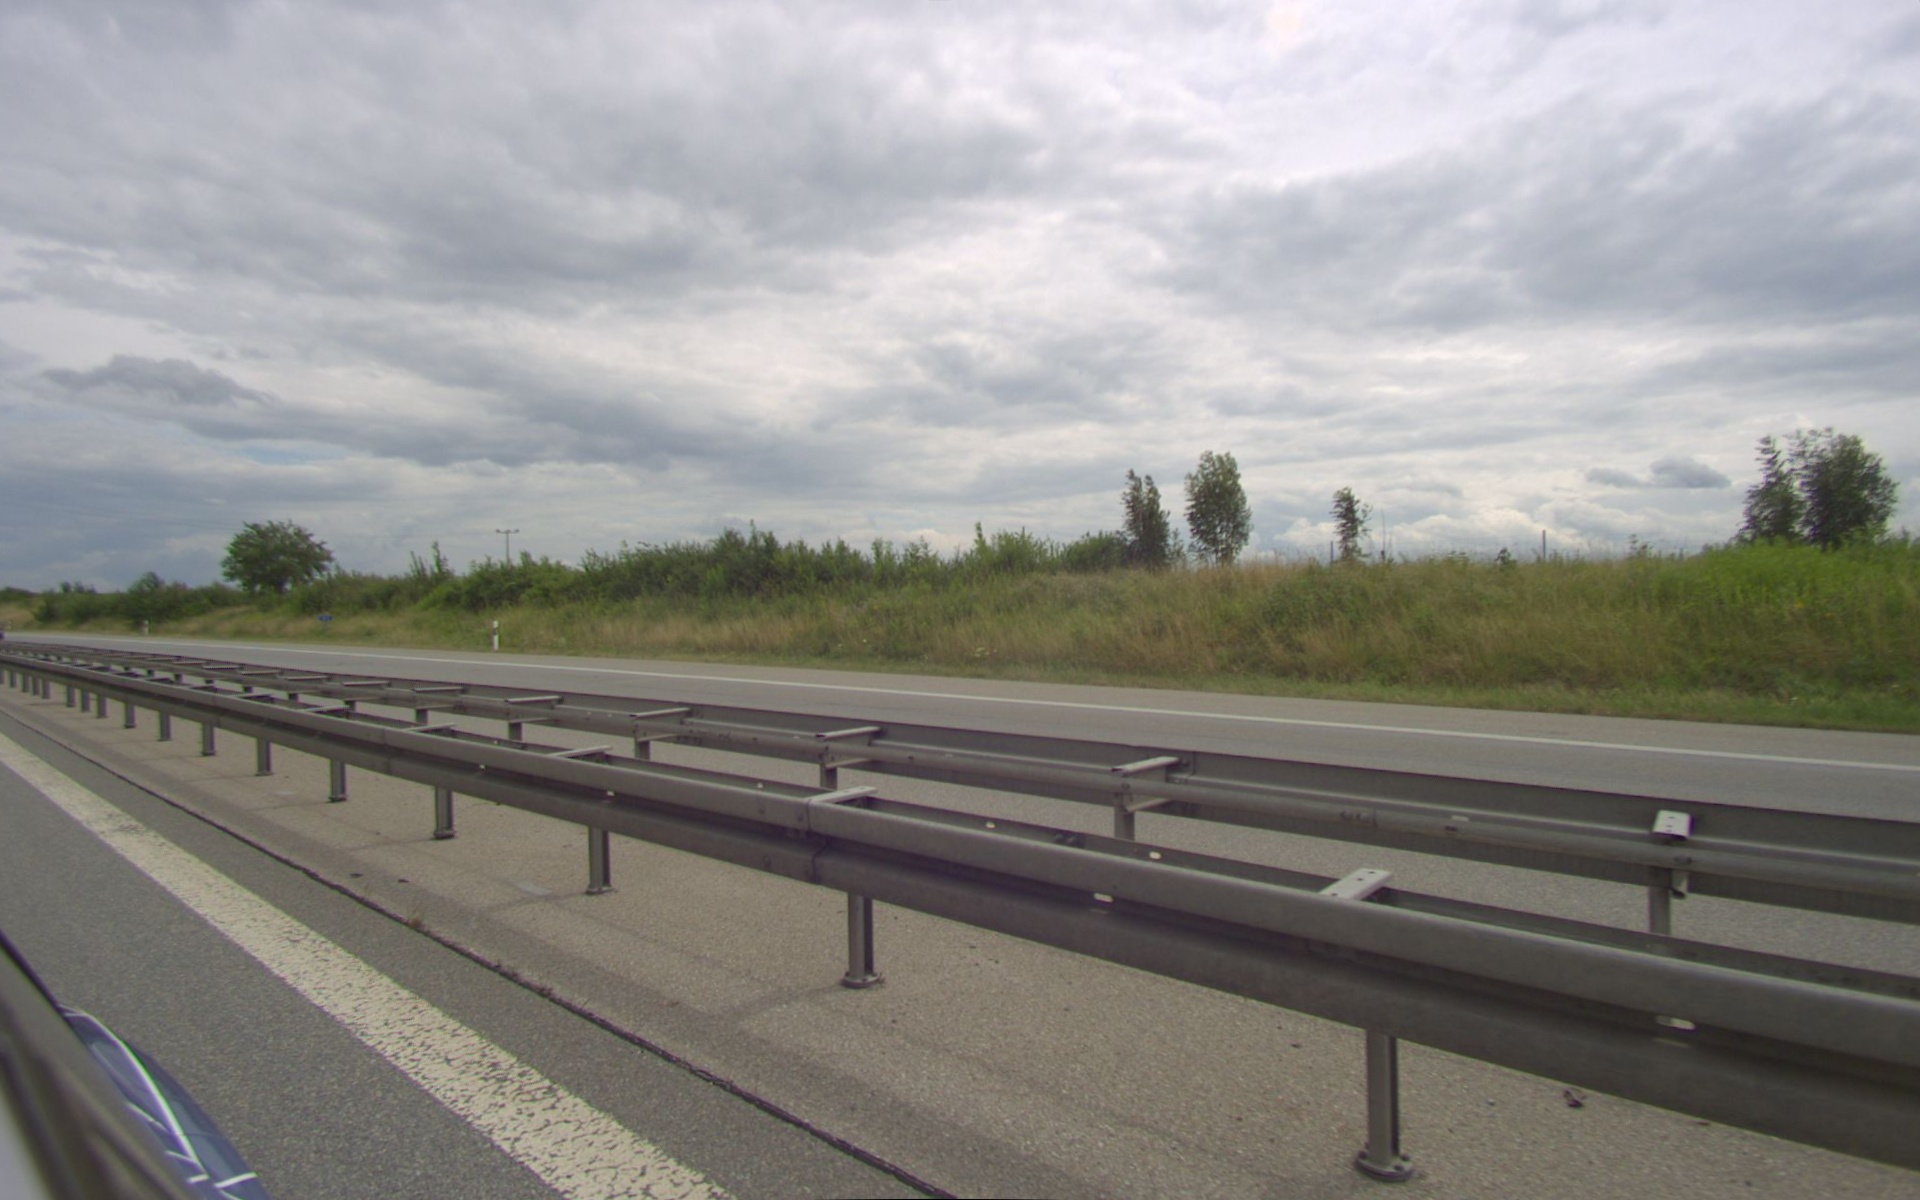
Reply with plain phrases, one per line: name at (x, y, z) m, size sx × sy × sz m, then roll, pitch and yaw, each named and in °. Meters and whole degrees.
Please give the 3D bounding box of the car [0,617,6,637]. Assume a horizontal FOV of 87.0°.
car at (-69.497, 1.962, 72.072) m, size 4.935 × 1.362 × 1.688 m, roll -1°, pitch 1°, yaw 40°
